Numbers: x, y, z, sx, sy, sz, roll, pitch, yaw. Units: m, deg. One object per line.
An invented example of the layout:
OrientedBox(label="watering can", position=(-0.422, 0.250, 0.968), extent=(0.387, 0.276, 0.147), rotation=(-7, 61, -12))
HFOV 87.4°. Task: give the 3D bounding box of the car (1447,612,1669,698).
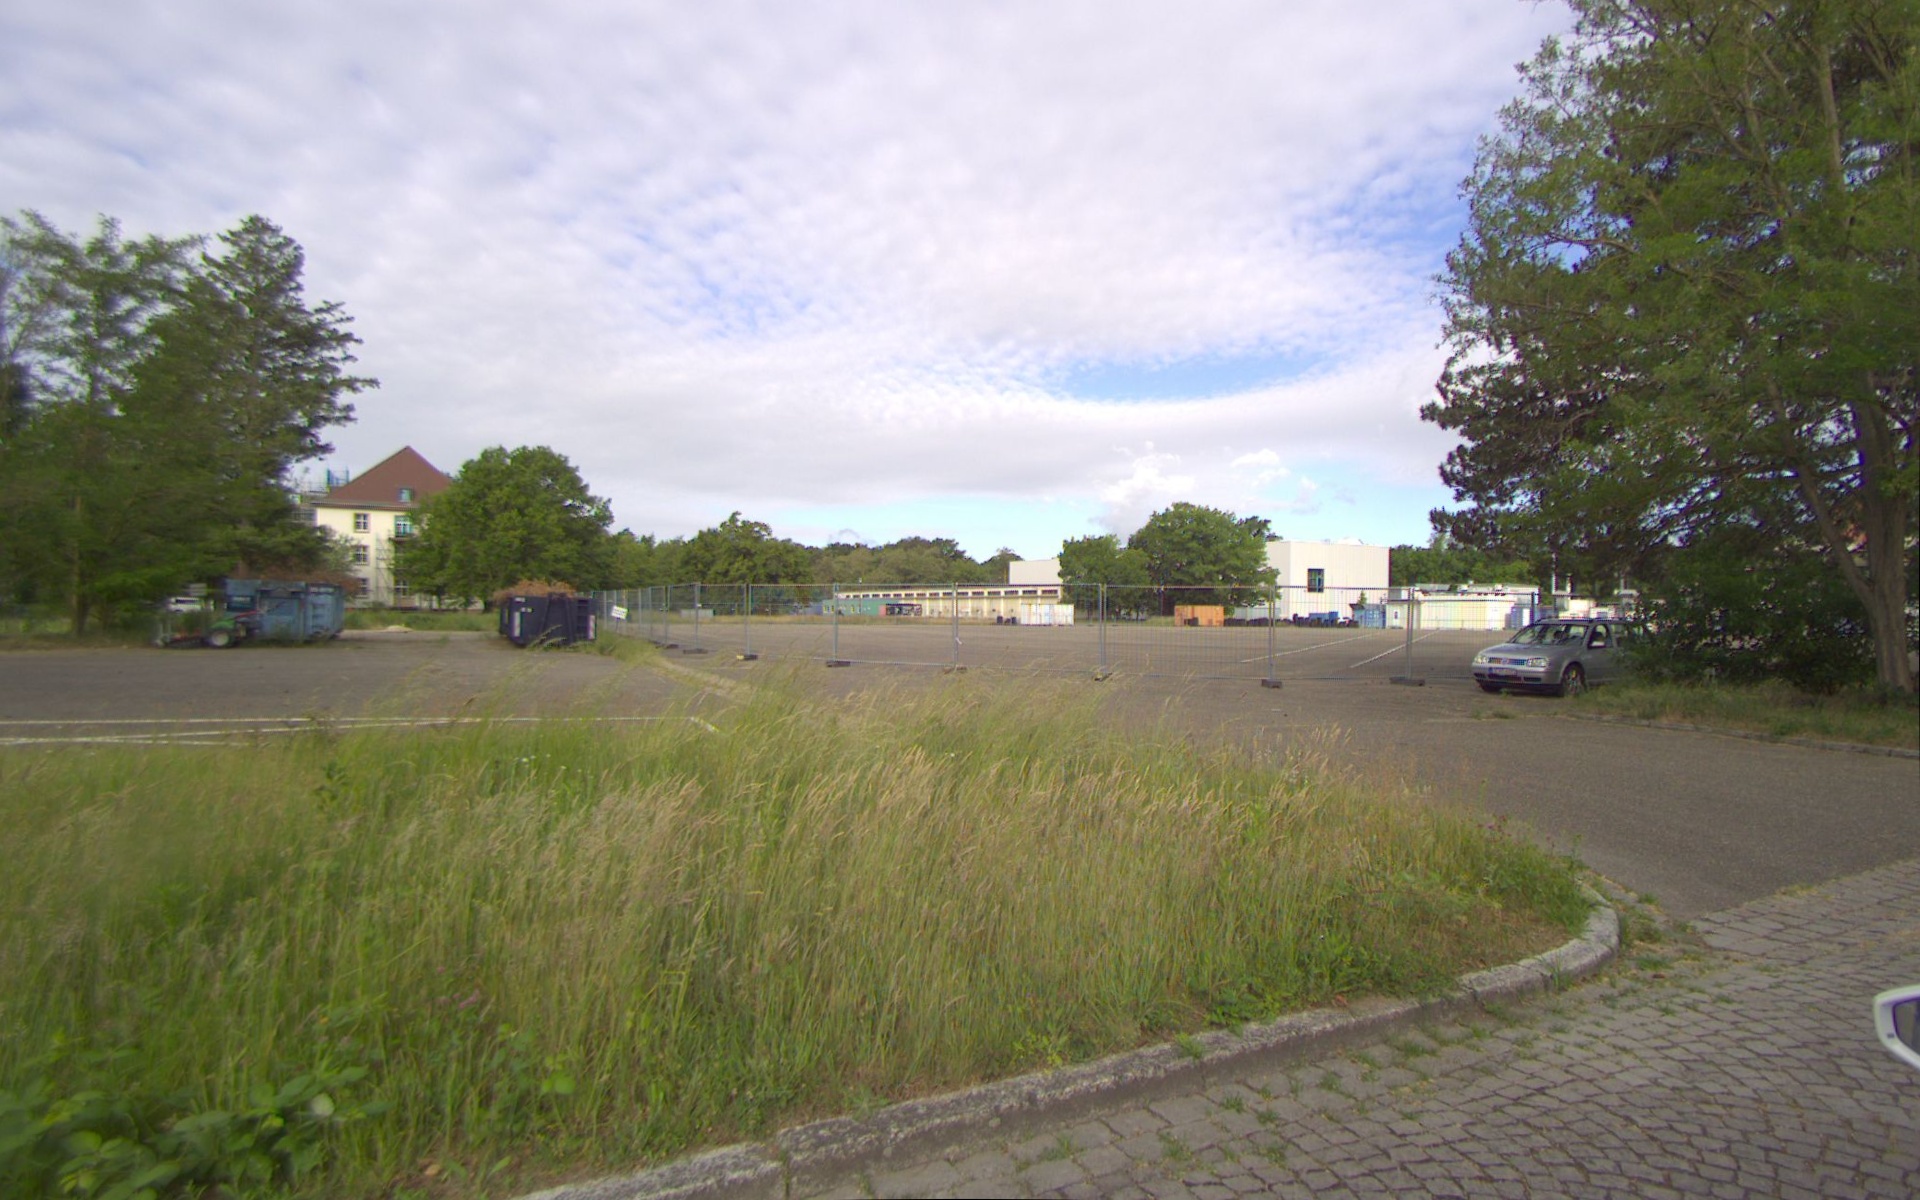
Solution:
OrientedBox(label="car", position=(11.743, 1.006, 19.677), extent=(4.317, 1.496, 1.910), rotation=(1, 0, -30))

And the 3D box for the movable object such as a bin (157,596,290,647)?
OrientedBox(label="movable object such as a bin", position=(-18.340, 0.536, 25.098), extent=(2.507, 1.228, 1.162), rotation=(1, 0, -28))

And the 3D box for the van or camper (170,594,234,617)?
OrientedBox(label="van or camper", position=(-82.233, 0.596, 109.039), extent=(5.188, 2.496, 2.192), rotation=(1, 0, -29))
